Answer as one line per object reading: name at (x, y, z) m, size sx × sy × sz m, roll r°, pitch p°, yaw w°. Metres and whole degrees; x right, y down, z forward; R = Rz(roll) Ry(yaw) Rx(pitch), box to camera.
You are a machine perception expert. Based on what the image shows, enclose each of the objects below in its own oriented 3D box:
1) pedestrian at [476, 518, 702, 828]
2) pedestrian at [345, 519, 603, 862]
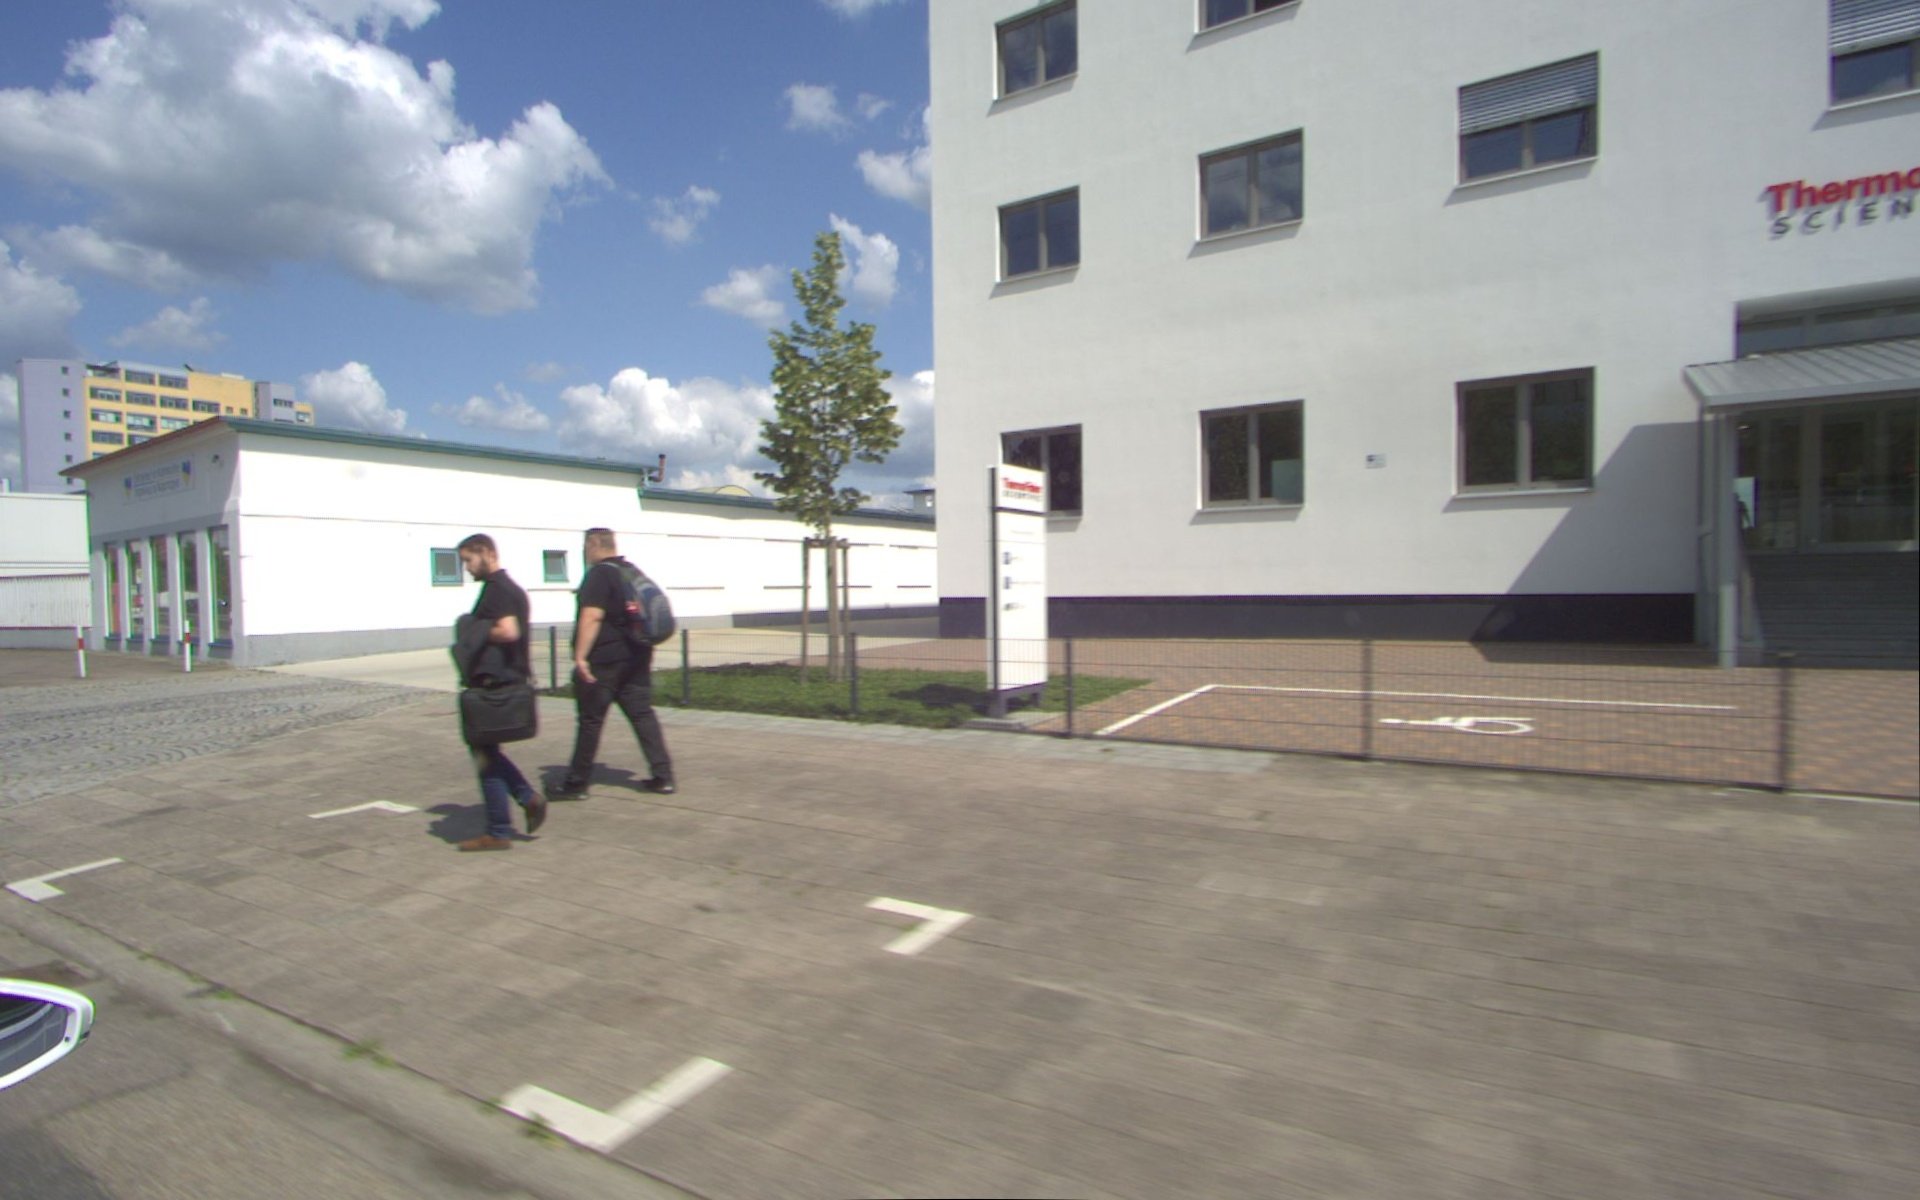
pedestrian at (-2.520, 0.462, 6.943) m, size 1.070 × 1.978 × 0.992 m, roll 0°, pitch 2°, yaw 10°
pedestrian at (-2.777, 0.481, 5.824) m, size 0.986 × 1.832 × 0.858 m, roll 0°, pitch 2°, yaw 10°
